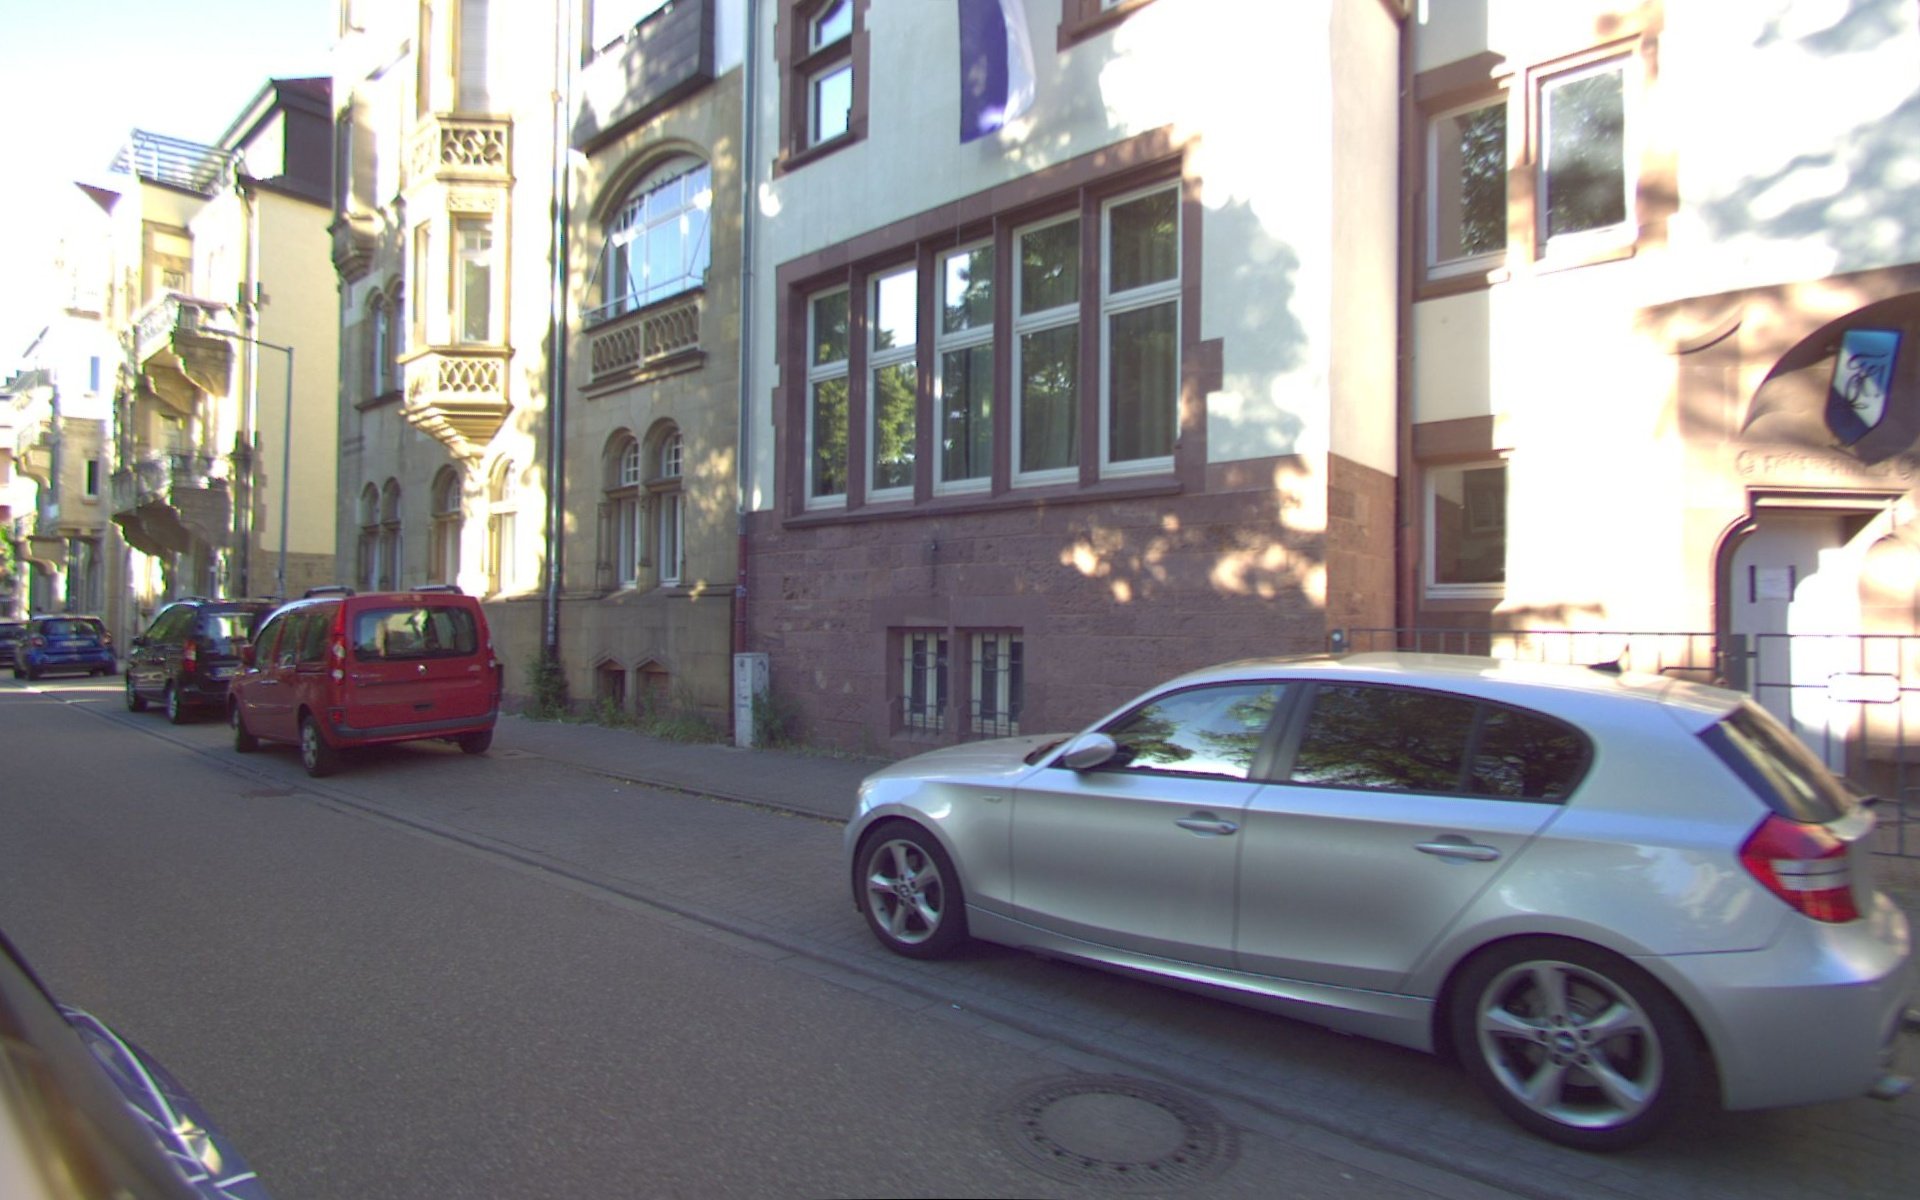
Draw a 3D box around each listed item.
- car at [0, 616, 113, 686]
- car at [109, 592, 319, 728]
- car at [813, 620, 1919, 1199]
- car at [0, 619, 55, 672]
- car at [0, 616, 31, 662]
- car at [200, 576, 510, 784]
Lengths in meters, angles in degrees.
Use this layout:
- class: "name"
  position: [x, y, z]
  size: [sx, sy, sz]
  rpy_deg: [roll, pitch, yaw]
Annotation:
- class: "car"
  position: [-21.984, 1.185, 24.600]
  size: [2.859, 1.520, 1.666]
  rpy_deg: [-1, 1, 41]
- class: "car"
  position: [-11.936, 0.865, 16.073]
  size: [4.539, 1.866, 1.751]
  rpy_deg: [-1, -1, 41]
- class: "car"
  position: [1.419, 0.828, 4.235]
  size: [4.098, 1.477, 1.727]
  rpy_deg: [-1, -1, 39]
- class: "car"
  position: [-28.878, 1.353, 30.435]
  size: [4.539, 1.449, 1.881]
  rpy_deg: [-1, 1, 41]
- class: "car"
  position: [-33.146, 1.326, 34.423]
  size: [3.769, 1.477, 1.673]
  rpy_deg: [-1, 2, 39]
- class: "car"
  position: [-6.967, 0.760, 11.456]
  size: [4.322, 1.921, 1.780]
  rpy_deg: [-1, 0, 41]
